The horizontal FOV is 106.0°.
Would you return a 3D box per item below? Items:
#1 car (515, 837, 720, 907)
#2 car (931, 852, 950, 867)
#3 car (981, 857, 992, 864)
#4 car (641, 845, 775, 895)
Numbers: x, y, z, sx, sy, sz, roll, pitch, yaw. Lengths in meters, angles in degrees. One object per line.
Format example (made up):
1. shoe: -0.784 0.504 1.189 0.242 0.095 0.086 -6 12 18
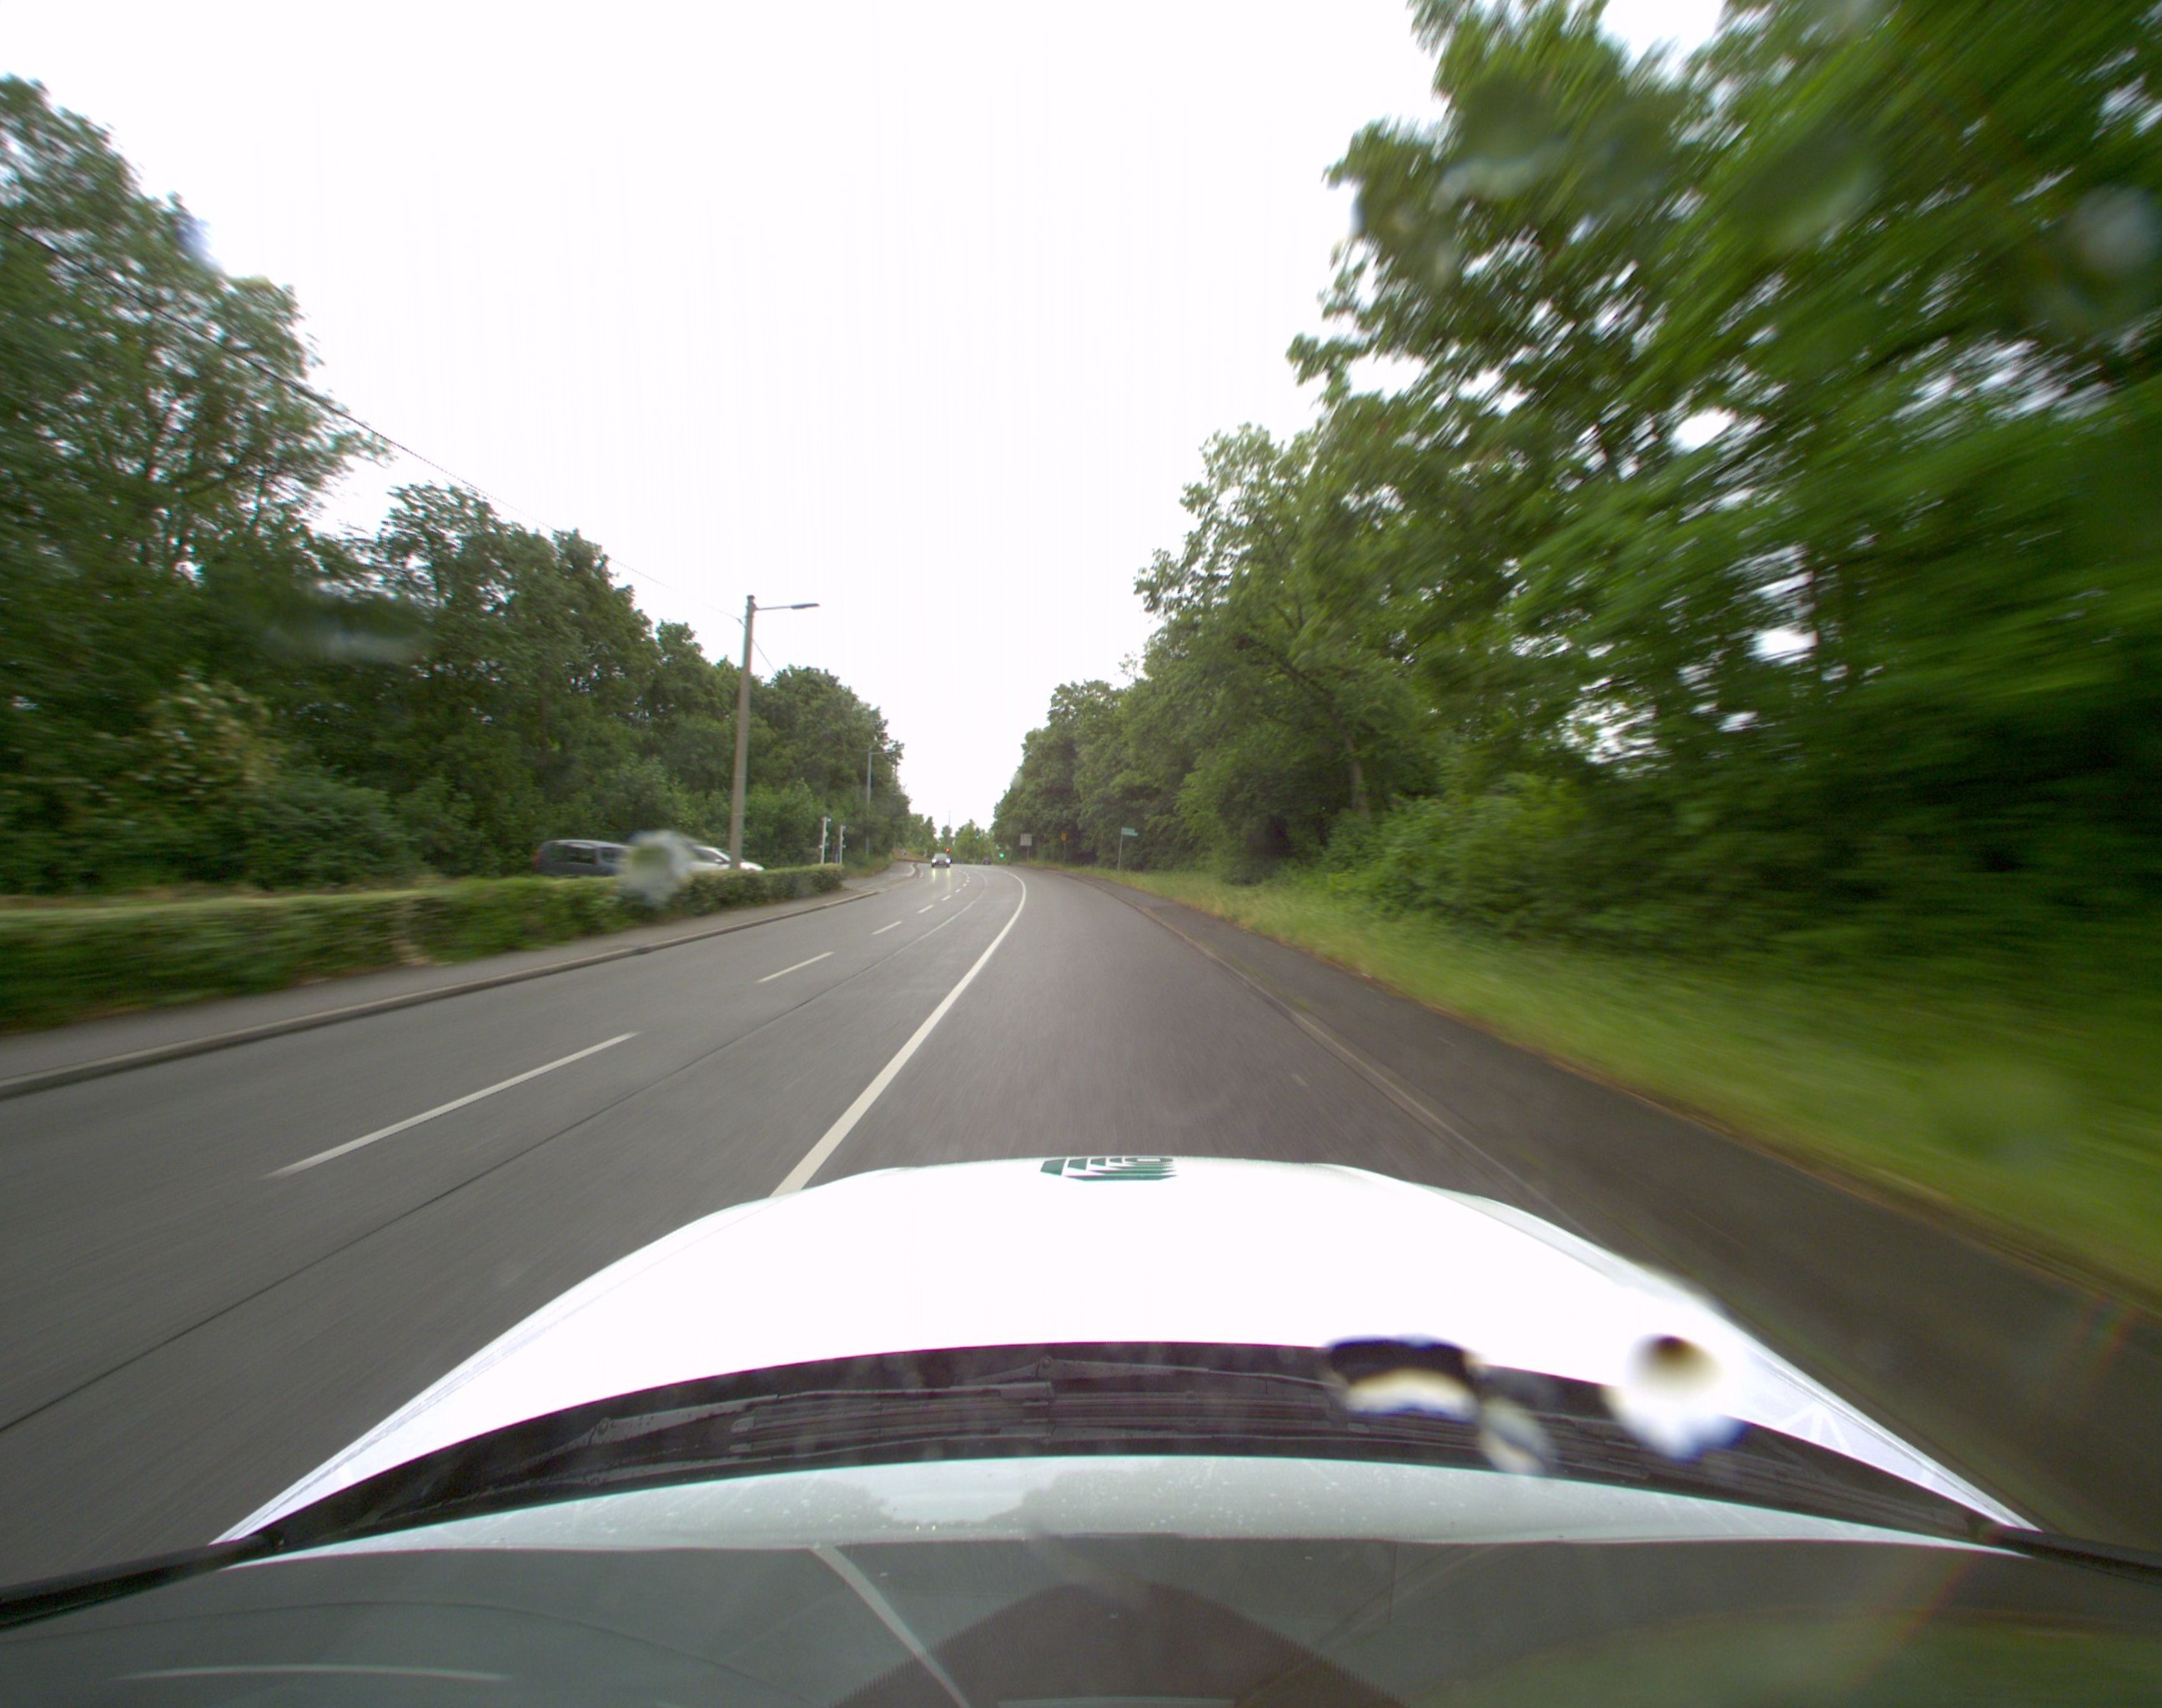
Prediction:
1. car: -12.269 0.459 21.780 4.275 1.708 2.001 1 0 1
2. car: -14.505 0.570 84.180 1.935 1.498 4.303 0 0 -10
3. car: -18.916 1.312 163.221 1.930 1.498 4.315 0 0 -2
4. car: -12.464 0.523 27.429 3.639 1.591 1.848 1 0 -6
